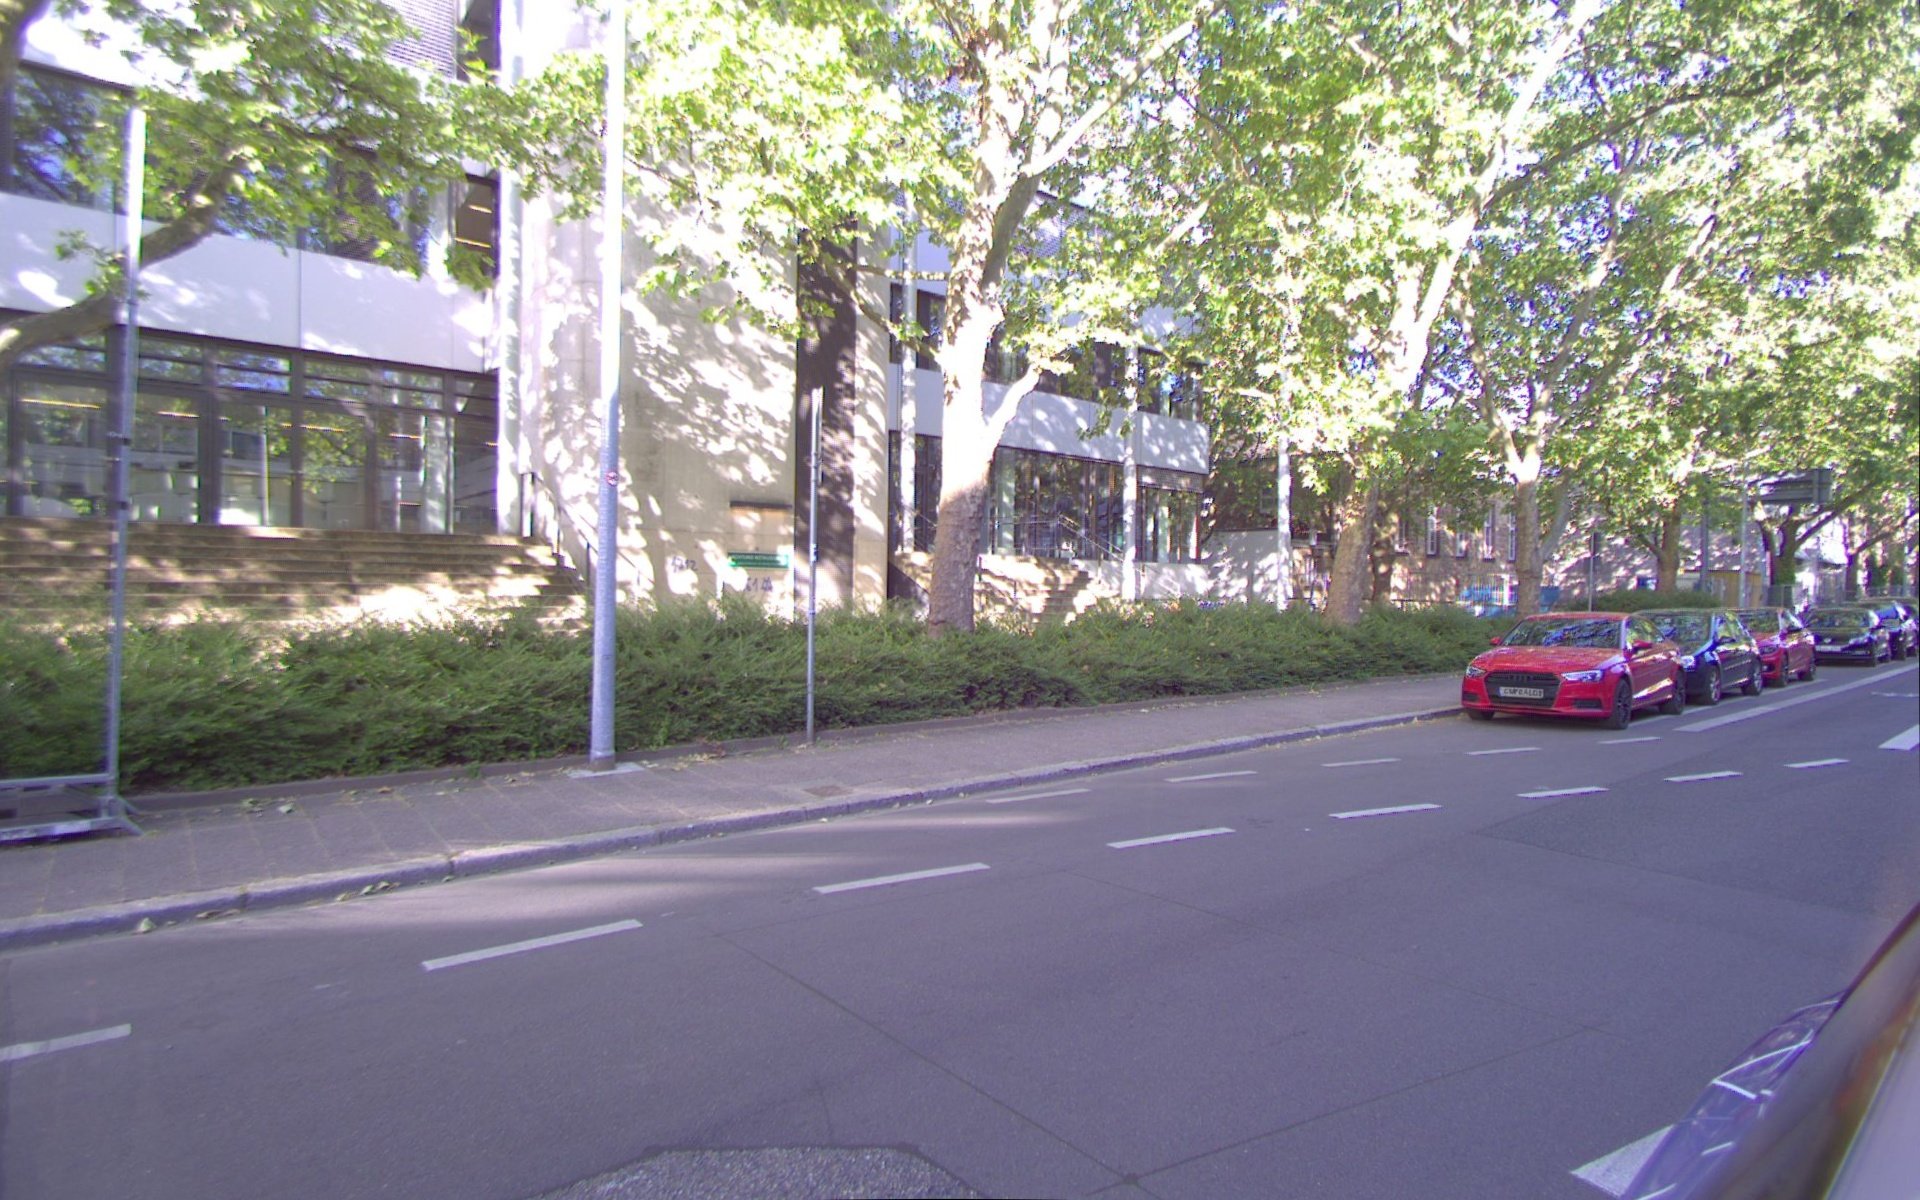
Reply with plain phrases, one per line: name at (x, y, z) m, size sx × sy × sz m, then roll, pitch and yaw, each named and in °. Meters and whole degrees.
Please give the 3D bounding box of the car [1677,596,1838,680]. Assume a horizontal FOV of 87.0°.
car at (15.742, 0.673, 19.916) m, size 3.930 × 1.456 × 1.789 m, roll 0°, pitch 1°, yaw -41°

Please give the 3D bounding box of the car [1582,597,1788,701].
car at (11.919, 0.698, 16.553) m, size 3.929 × 1.475 × 1.812 m, roll 0°, pitch 1°, yaw -40°

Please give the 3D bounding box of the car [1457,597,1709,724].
car at (8.389, 0.688, 13.490) m, size 4.101 × 1.443 × 1.773 m, roll 0°, pitch -1°, yaw -42°

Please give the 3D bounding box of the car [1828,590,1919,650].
car at (26.647, 0.523, 29.201) m, size 4.158 × 1.601 × 1.847 m, roll 0°, pitch 1°, yaw -41°

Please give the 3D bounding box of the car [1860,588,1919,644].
car at (31.082, 0.480, 33.062) m, size 4.188 × 1.747 × 1.997 m, roll -1°, pitch 0°, yaw -41°

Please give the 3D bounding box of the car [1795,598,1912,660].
car at (22.984, 0.680, 26.003) m, size 3.930 × 1.456 × 1.744 m, roll 0°, pitch 1°, yaw -41°

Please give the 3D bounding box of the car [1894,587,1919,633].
car at (35.740, 0.361, 37.083) m, size 4.004 × 1.638 × 1.797 m, roll 0°, pitch 1°, yaw -41°
